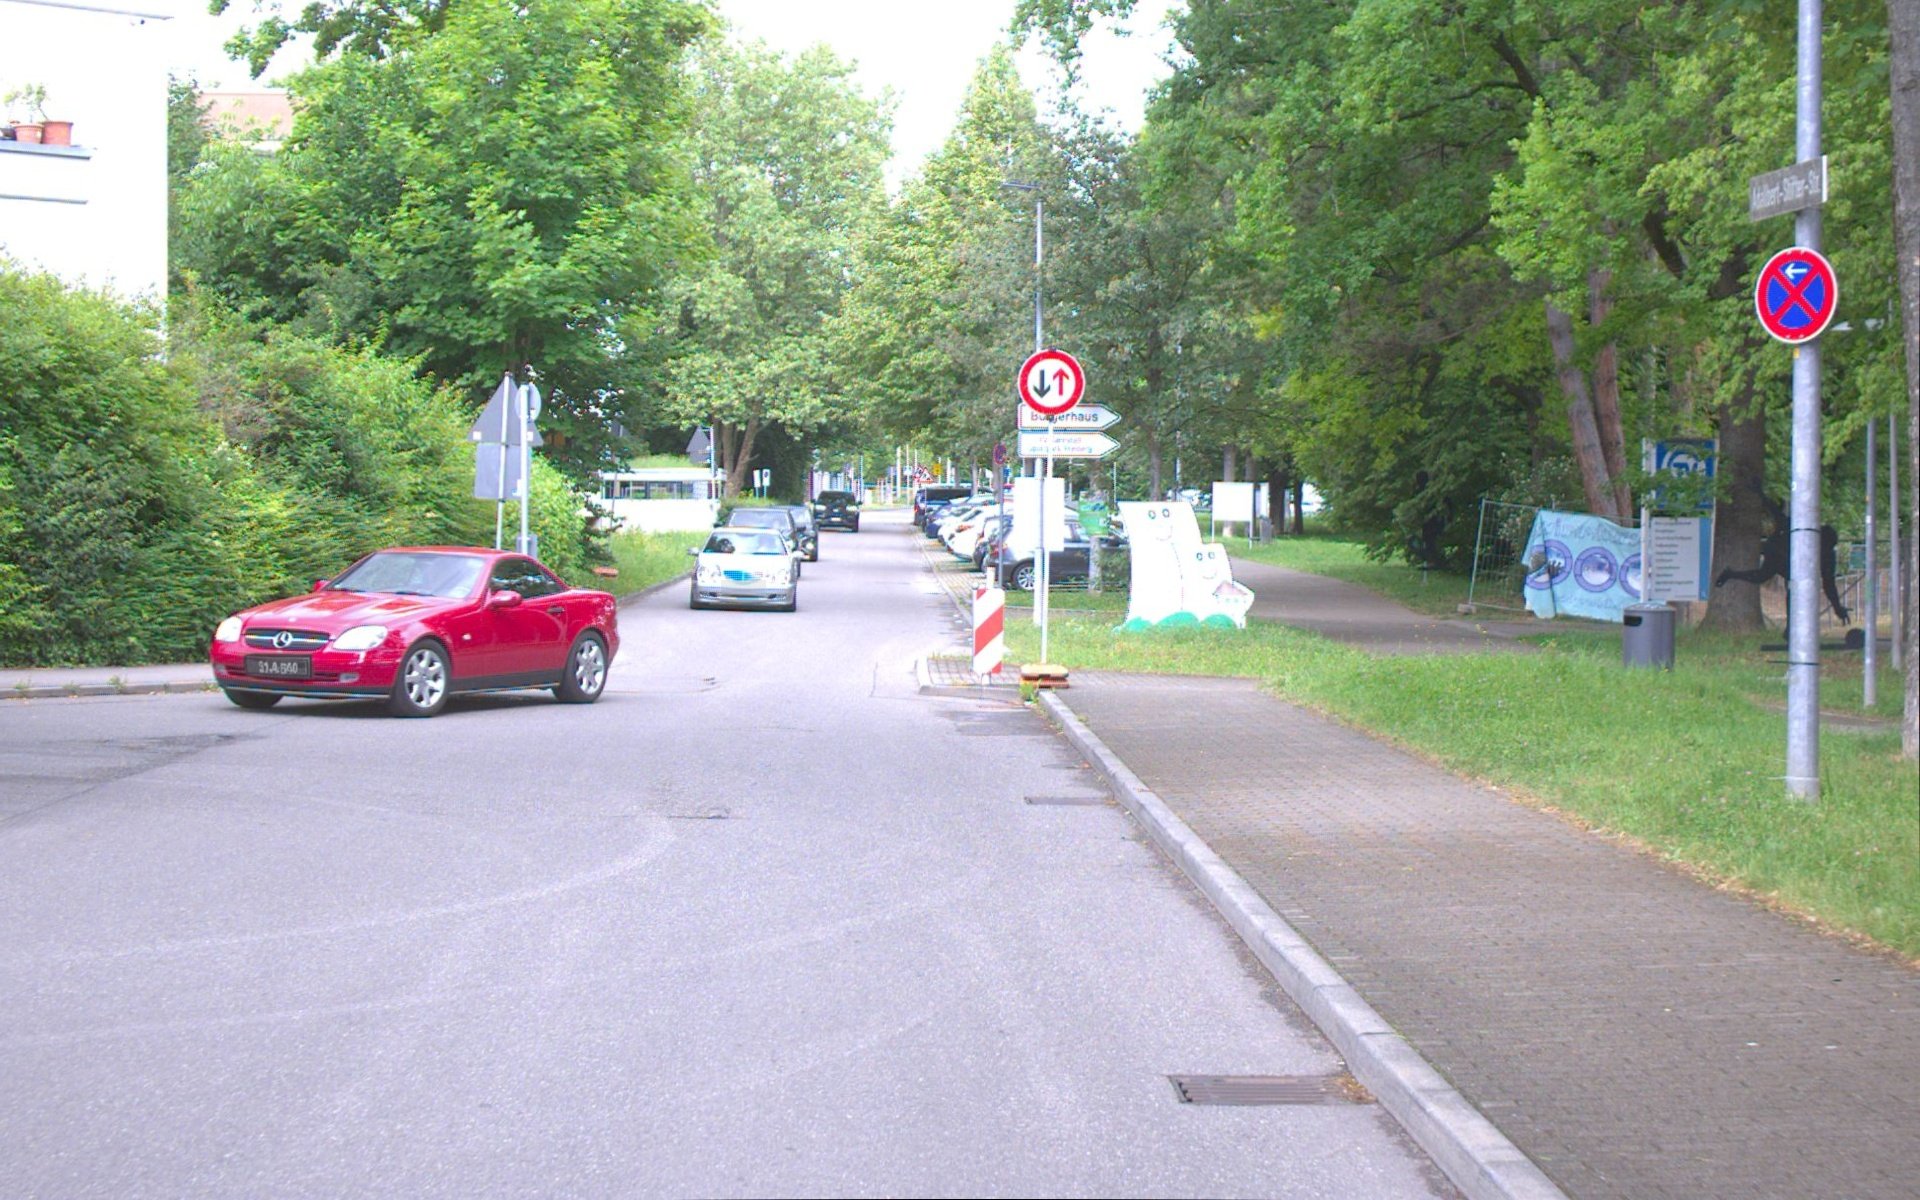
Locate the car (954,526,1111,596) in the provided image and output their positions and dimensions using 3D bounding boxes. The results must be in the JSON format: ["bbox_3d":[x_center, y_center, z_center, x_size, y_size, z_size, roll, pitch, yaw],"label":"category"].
[{"bbox_3d":[1.973,-1.075,94.545,4.062,1.681,1.823,-3,2,-4],"label":"car"}]

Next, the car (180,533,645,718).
[{"bbox_3d":[-4.274,0.148,27.458,1.752,1.331,4.060,2,2,23],"label":"car"}]

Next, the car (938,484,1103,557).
[{"bbox_3d":[1.561,-2.077,89.733,4.062,1.681,1.823,-3,2,-4],"label":"car"}]

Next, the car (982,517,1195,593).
[{"bbox_3d":[2.516,-0.878,68.037,4.062,1.429,2.000,-1,0,-2],"label":"car"}]

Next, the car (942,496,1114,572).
[{"bbox_3d":[1.680,-1.649,85.684,4.062,1.681,1.823,-3,2,-4],"label":"car"}]

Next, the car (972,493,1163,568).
[{"bbox_3d":[2.346,-1.532,75.483,4.062,1.563,1.823,-1,2,-2],"label":"car"}]

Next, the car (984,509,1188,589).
[{"bbox_3d":[2.563,-1.030,70.568,4.062,1.563,1.822,-1,0,-2],"label":"car"}]

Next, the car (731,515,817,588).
[{"bbox_3d":[-4.222,-1.126,78.429,1.803,1.586,4.296,1,1,-1],"label":"car"}]

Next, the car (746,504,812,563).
[{"bbox_3d":[-5.104,-1.891,96.891,1.803,1.586,4.297,1,1,-3],"label":"car"}]

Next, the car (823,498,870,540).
[{"bbox_3d":[-4.923,-3.508,148.744,1.968,1.741,4.339,1,1,-2],"label":"car"}]

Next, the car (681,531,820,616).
[{"bbox_3d":[-3.444,-0.470,57.187,1.781,1.302,4.296,1,1,4],"label":"car"}]
